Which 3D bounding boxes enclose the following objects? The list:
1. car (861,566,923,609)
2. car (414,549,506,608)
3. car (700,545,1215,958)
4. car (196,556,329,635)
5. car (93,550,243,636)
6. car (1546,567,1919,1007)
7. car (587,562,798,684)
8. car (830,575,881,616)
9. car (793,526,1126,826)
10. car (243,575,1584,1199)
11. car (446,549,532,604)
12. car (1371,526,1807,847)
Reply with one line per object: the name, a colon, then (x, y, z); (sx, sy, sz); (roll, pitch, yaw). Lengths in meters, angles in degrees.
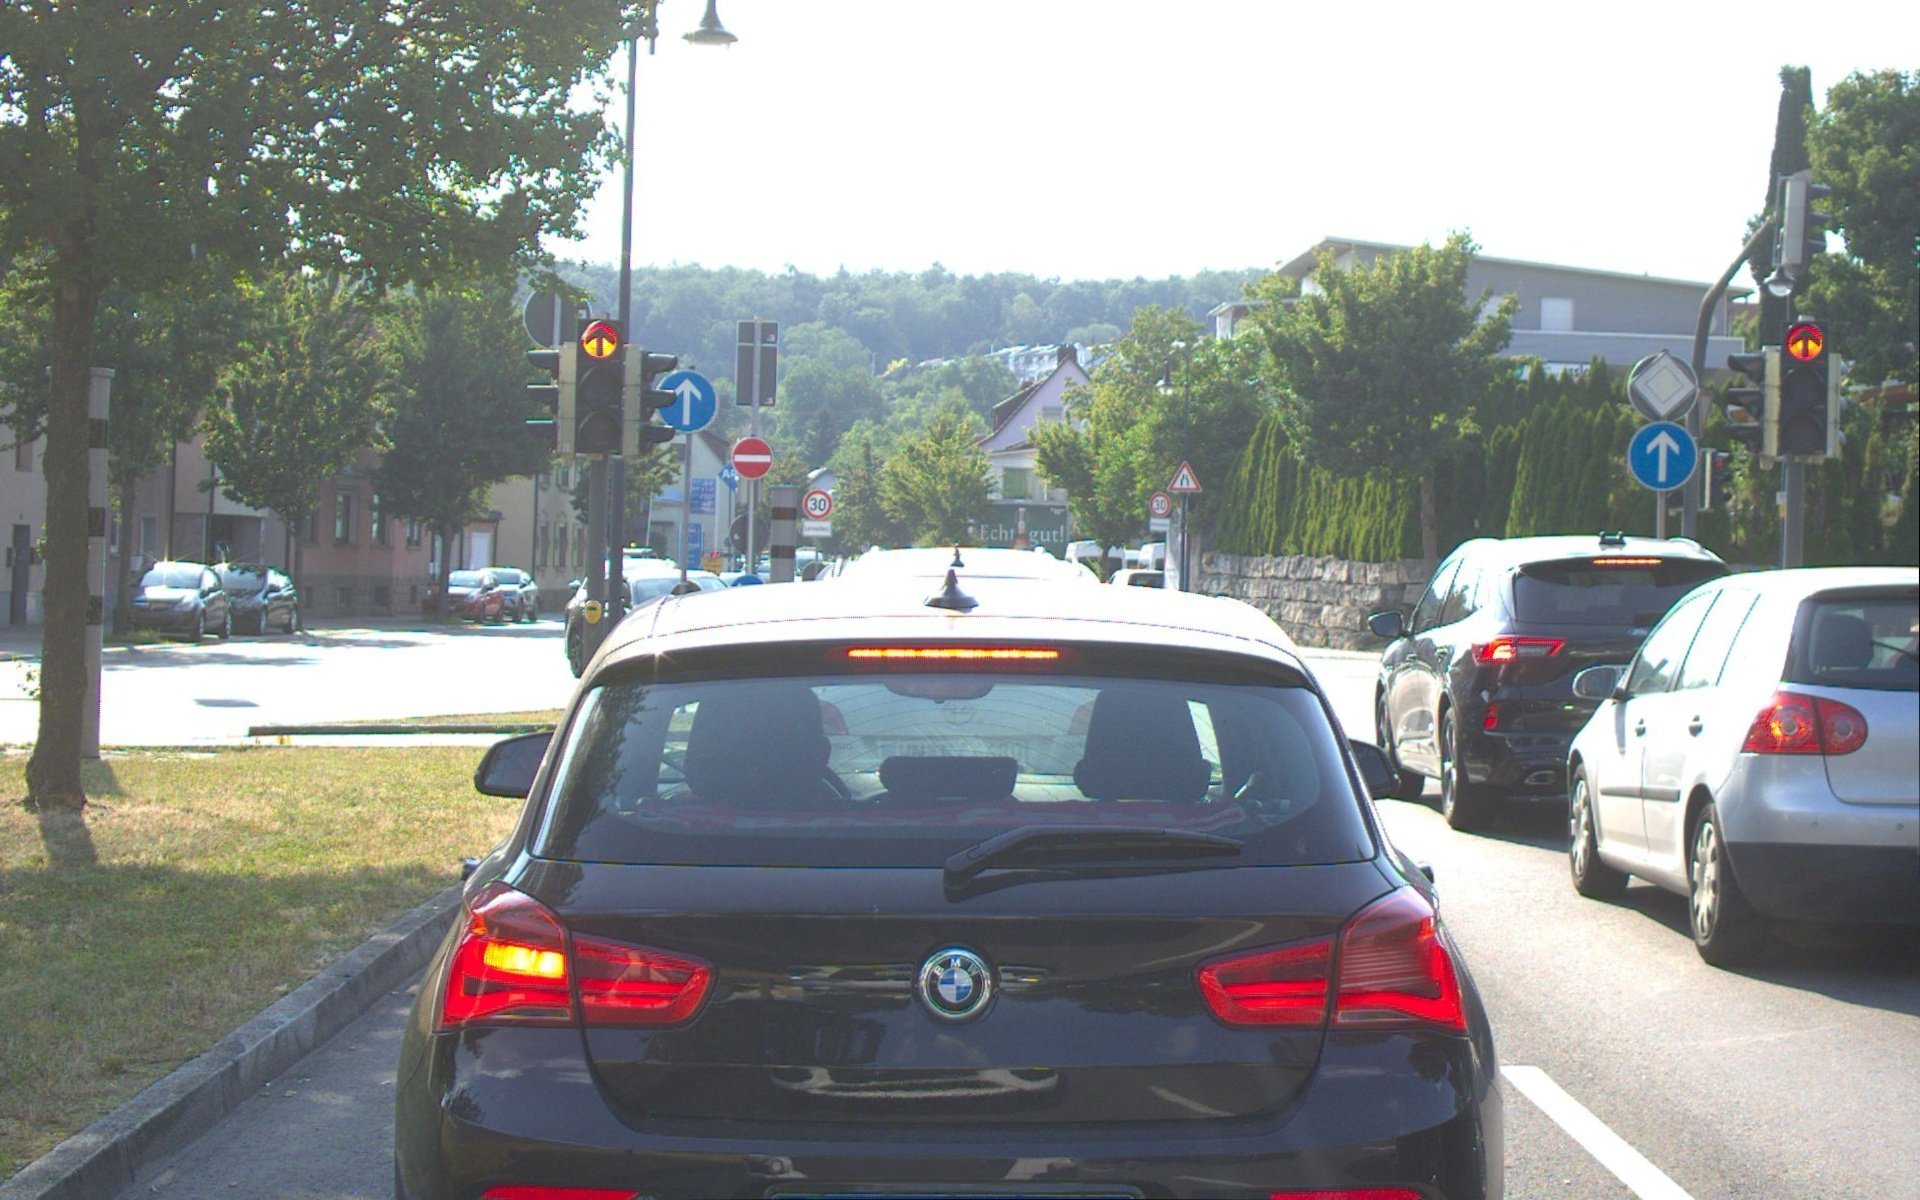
car: (-2.540, -0.484, 126.720); (1.861, 1.480, 4.660); (1, 1, -6)
car: (-14.129, -0.625, 97.311); (1.924, 1.590, 4.000); (1, 1, 1)
car: (0.026, 0.505, 14.332); (1.816, 1.446, 4.242); (1, 1, 1)
car: (-14.837, -0.112, 73.314); (1.924, 1.590, 4.000); (1, 1, 1)
car: (-15.438, -0.158, 67.221); (1.924, 1.590, 4.000); (1, 1, 1)
car: (3.584, 0.612, 13.674); (1.816, 1.441, 4.347); (1, 1, 1)
car: (-3.489, 0.271, 44.175); (1.766, 1.453, 4.001); (1, 1, -18)
car: (-4.520, -0.193, 148.437); (1.890, 1.696, 4.525); (-1, 1, -6)
car: (0.033, 0.385, 21.065); (1.816, 1.635, 4.242); (1, 1, 1)
car: (-0.033, 0.685, 6.785); (1.791, 1.410, 4.347); (1, 1, 1)
car: (-14.063, -0.713, 102.817); (1.924, 1.590, 4.000); (1, 1, 1)
car: (3.558, 0.419, 20.220); (1.816, 1.660, 4.347); (1, 1, 1)
